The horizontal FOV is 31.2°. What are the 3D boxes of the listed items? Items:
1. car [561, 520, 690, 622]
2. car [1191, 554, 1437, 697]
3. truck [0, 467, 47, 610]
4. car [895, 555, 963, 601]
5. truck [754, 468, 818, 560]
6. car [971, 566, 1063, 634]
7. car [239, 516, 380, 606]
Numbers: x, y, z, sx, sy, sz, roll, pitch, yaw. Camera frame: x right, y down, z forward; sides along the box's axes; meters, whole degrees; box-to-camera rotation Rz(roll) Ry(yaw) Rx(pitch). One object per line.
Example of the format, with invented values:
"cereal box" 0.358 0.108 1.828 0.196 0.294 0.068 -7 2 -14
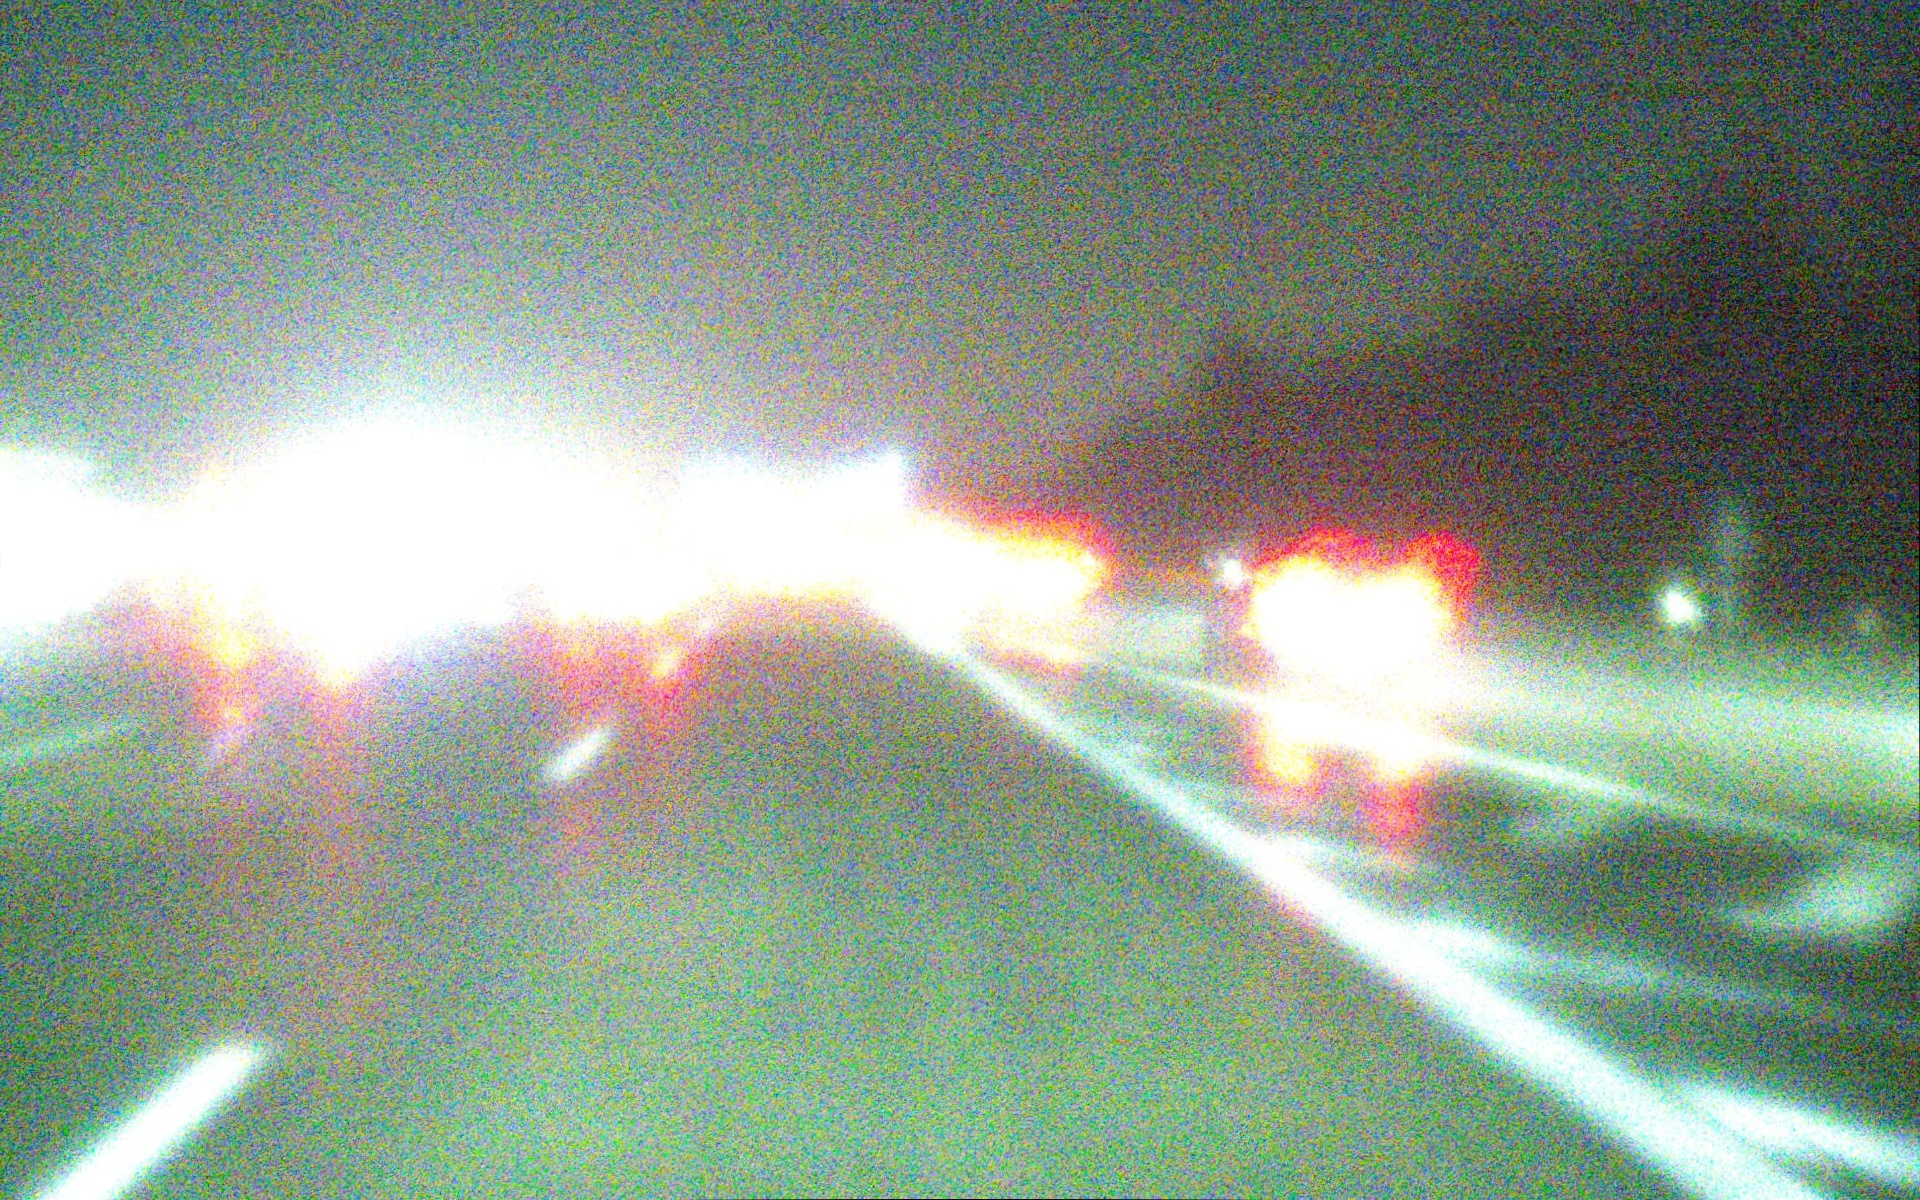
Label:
"car" -5.261 -0.472 54.478 1.801 1.482 4.001 3 1 -3
"car" 4.298 0.266 42.584 2.057 1.514 5.016 4 1 -5
"truck" -28.651 -1.706 99.362 2.812 3.993 7.350 -2 0 -3
"car" -0.896 -0.628 97.486 1.580 1.242 3.069 1 0 -7
"truck" -6.205 -3.041 123.183 1.993 3.032 6.465 -2 0 -1
"car" 1.255 -0.012 76.773 1.580 1.241 3.070 3 3 -7
"car" -9.788 -0.572 51.939 1.662 1.232 3.762 -2 0 -5
